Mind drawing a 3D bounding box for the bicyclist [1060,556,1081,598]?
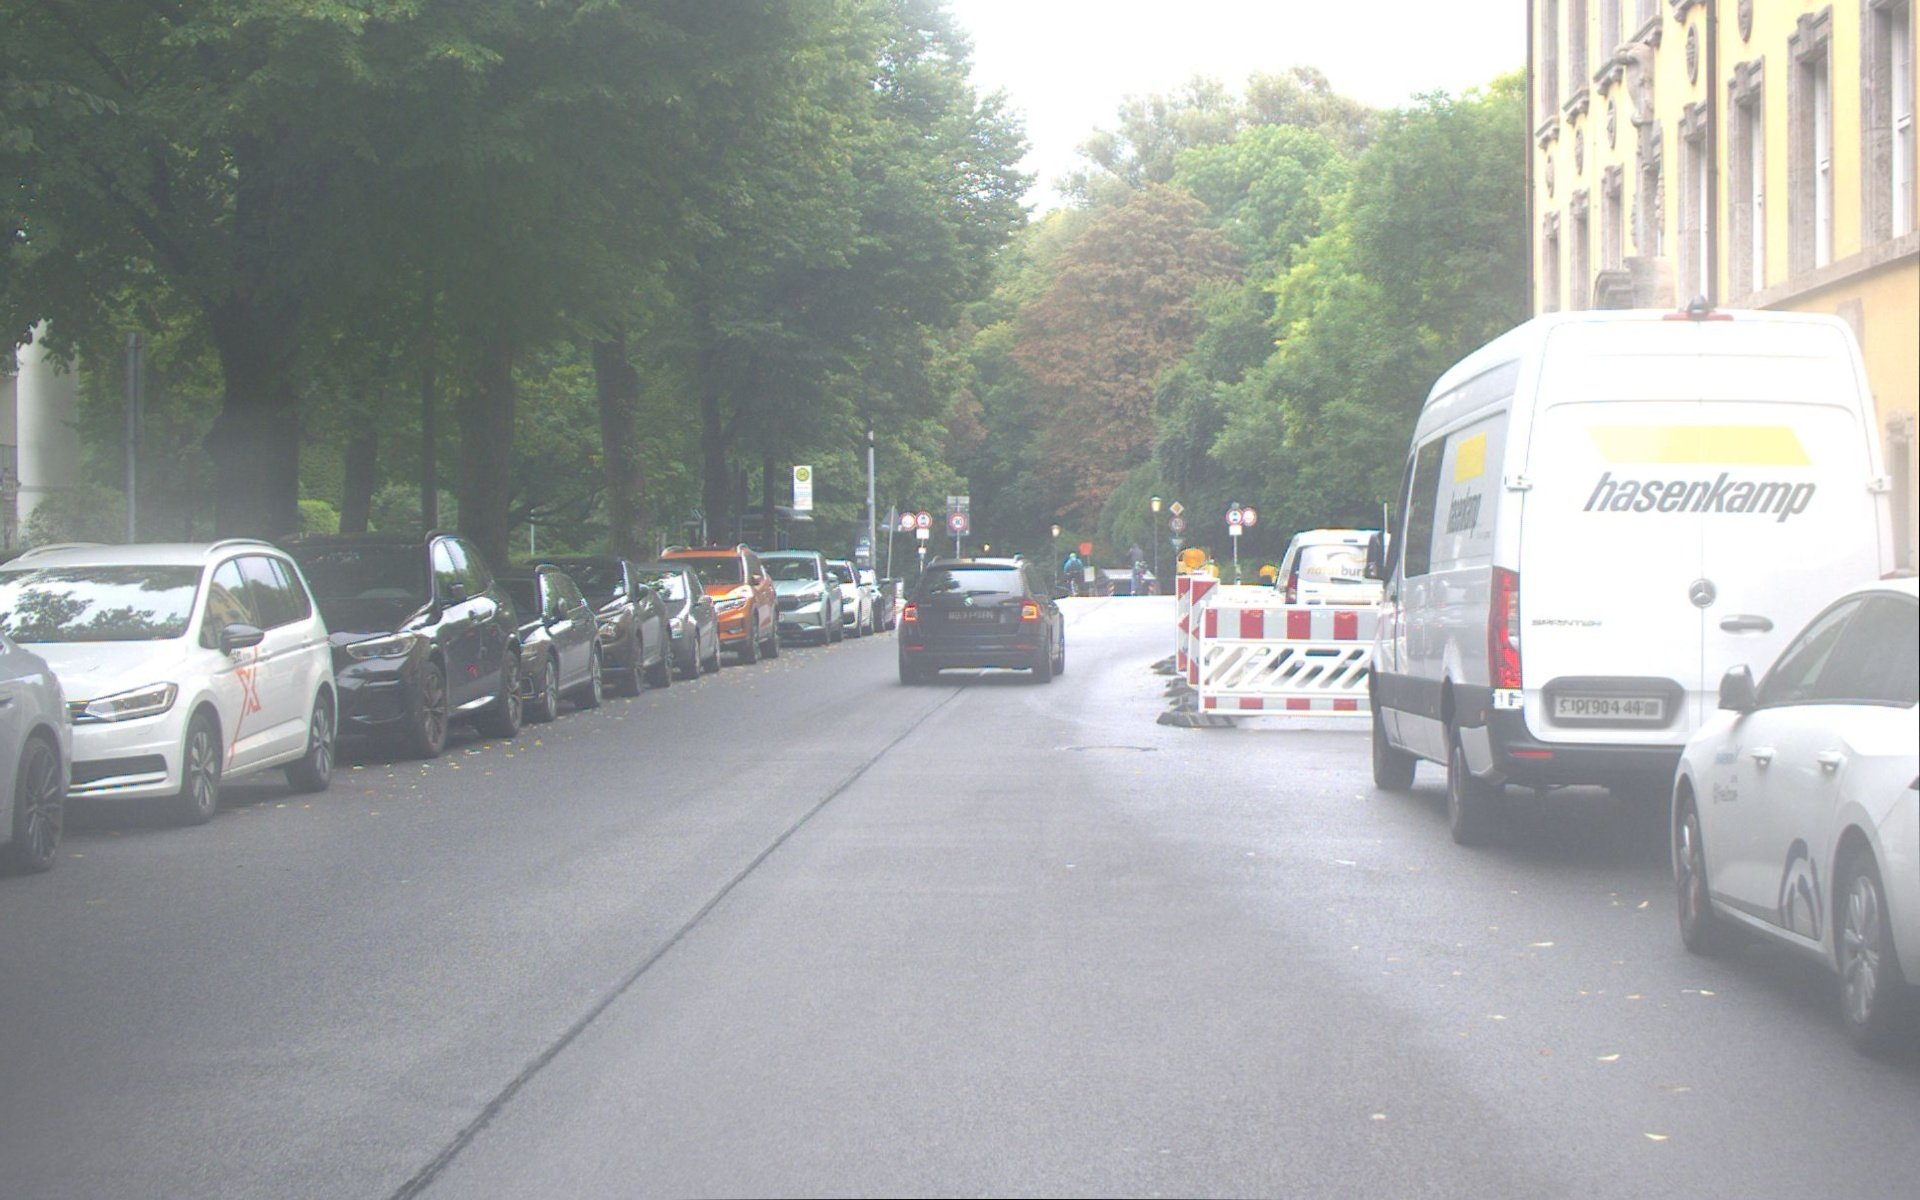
[{"bbox_3d":[4.070,-0.848,126.612,0.680,1.499,0.901,-1,1,-6],"label":"bicyclist"}]

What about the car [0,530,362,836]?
[{"bbox_3d":[-5.098,0.445,20.875,1.765,1.616,4.522,-3,0,4],"label":"car"}]

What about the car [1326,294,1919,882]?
[{"bbox_3d":[3.457,-0.090,19.443,2.054,2.664,7.614,0,1,1],"label":"car"}]

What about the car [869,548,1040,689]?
[{"bbox_3d":[-0.015,0.184,40.466,1.578,1.578,4.043,0,1,6],"label":"car"}]

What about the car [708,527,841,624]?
[{"bbox_3d":[-3.146,-0.430,59.037,1.815,1.596,4.513,0,1,3],"label":"car"}]

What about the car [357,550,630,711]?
[{"bbox_3d":[-4.443,0.250,33.404,1.719,1.446,4.695,0,1,4],"label":"car"}]

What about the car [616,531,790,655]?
[{"bbox_3d":[-3.691,-0.128,50.192,1.873,1.722,4.640,0,1,4],"label":"car"}]

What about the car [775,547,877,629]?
[{"bbox_3d":[-2.513,-0.247,65.247,1.577,1.492,4.199,0,1,3],"label":"car"}]

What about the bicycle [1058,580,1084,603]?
[{"bbox_3d":[4.092,-0.316,126.496,0.679,0.827,2.110,0,0,-6],"label":"bicycle"}]

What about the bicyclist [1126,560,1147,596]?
[{"bbox_3d":[5.842,-0.723,113.491,0.681,1.183,0.481,-1,1,3],"label":"bicyclist"}]

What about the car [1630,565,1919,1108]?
[{"bbox_3d":[3.535,0.610,11.331,1.871,1.453,4.255,0,1,1],"label":"car"}]

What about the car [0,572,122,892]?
[{"bbox_3d":[-5.340,0.619,15.299,1.809,1.464,4.997,0,1,2],"label":"car"}]

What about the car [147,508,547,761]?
[{"bbox_3d":[-4.783,0.224,27.607,1.994,1.791,4.920,-2,1,4],"label":"car"}]

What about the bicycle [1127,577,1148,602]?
[{"bbox_3d":[5.850,-0.345,113.490,0.679,0.827,2.109,0,0,3],"label":"bicycle"}]

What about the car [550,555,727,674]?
[{"bbox_3d":[-4.082,0.148,44.246,1.727,1.418,4.251,0,1,2],"label":"car"}]

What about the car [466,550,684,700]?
[{"bbox_3d":[-4.275,0.238,38.796,1.786,1.569,4.486,0,1,2],"label":"car"}]

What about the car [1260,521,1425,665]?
[{"bbox_3d":[4.851,-0.085,44.105,1.740,1.744,4.356,0,0,2],"label":"car"}]
